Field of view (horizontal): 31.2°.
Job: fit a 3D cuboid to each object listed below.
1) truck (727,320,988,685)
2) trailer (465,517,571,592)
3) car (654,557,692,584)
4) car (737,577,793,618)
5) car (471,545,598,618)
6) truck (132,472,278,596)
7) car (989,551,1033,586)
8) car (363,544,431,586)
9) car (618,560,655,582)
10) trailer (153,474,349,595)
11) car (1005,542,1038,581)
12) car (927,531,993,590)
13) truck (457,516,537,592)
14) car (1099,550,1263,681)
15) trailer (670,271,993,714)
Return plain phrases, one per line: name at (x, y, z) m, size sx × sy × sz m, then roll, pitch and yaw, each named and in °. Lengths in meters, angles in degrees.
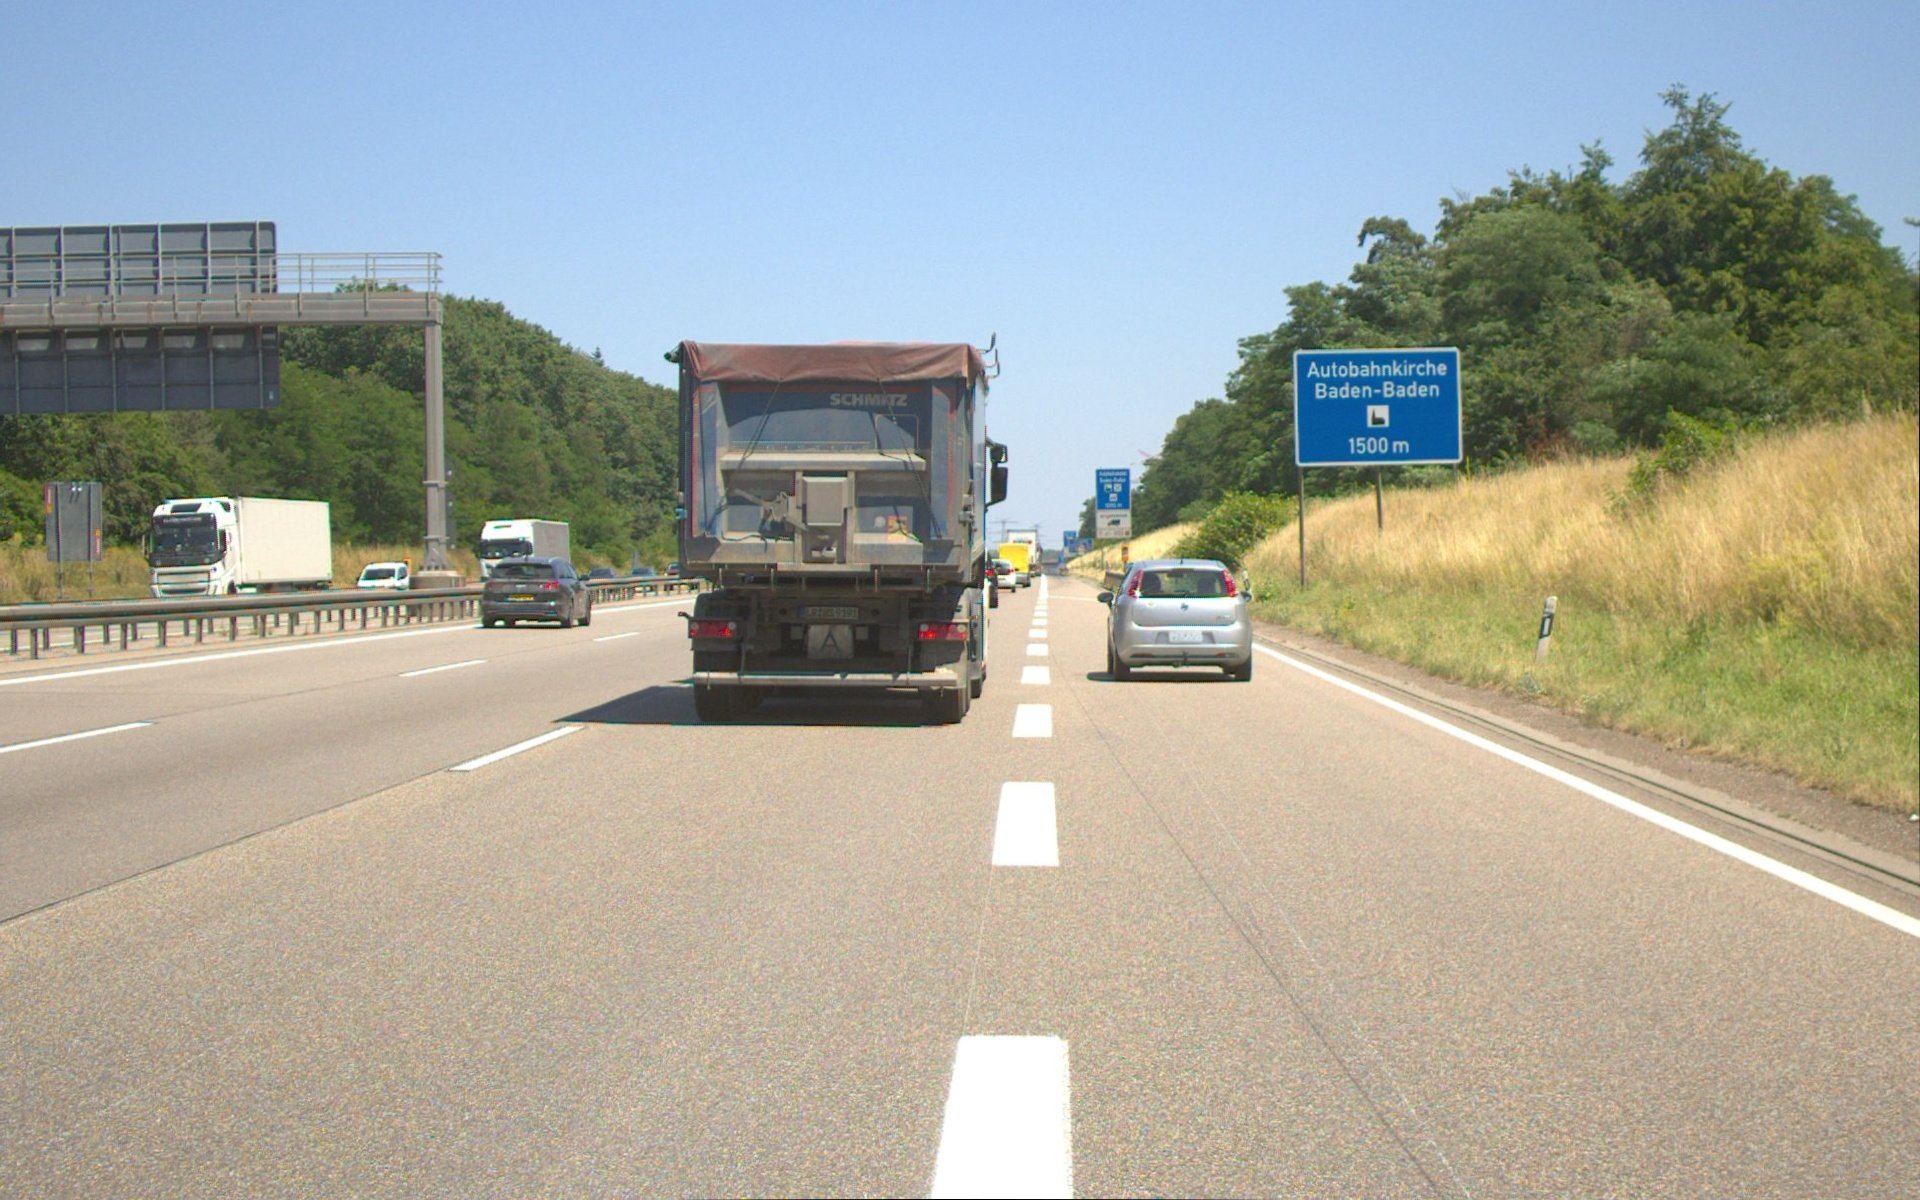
truck at (-1.037, -1.064, 38.351) m, size 2.684 × 3.745 × 5.944 m, roll 0°, pitch 1°, yaw 0°
trailer at (-23.969, -2.468, 187.367) m, size 3.168 × 3.917 × 13.962 m, roll 1°, pitch 1°, yaw 3°
car at (-18.022, -1.858, 215.897) m, size 1.846 × 1.605 × 4.921 m, roll 1°, pitch 1°, yaw 1°
car at (-7.408, -0.111, 130.669) m, size 1.703 × 1.469 × 4.597 m, roll 0°, pitch 1°, yaw 2°
car at (-8.680, -0.403, 70.471) m, size 1.832 × 1.427 × 4.999 m, roll 1°, pitch 1°, yaw 2°
truck at (-25.263, -2.197, 115.273) m, size 3.214 × 4.004 × 6.215 m, roll 1°, pitch 1°, yaw 3°
car at (2.259, -1.360, 150.106) m, size 1.821 × 1.486 × 3.737 m, roll 1°, pitch 0°, yaw 2°
car at (-24.159, -1.518, 147.725) m, size 1.993 × 1.743 × 4.991 m, roll 1°, pitch 1°, yaw 1°
car at (-22.259, -2.033, 236.856) m, size 1.927 × 1.458 × 4.942 m, roll -1°, pitch 1°, yaw 2°
trailer at (-24.932, -2.278, 121.812) m, size 3.214 × 4.028 × 14.359 m, roll 1°, pitch 1°, yaw 3°
car at (3.181, -2.001, 178.693) m, size 1.611 × 2.007 × 4.000 m, roll 1°, pitch 1°, yaw 0°
car at (0.025, -1.168, 101.531) m, size 1.832 × 1.666 × 4.000 m, roll 1°, pitch 0°, yaw 1°
truck at (-24.311, -2.431, 180.902) m, size 3.168 × 3.917 × 5.399 m, roll 1°, pitch 1°, yaw 3°
car at (2.693, 0.154, 42.533) m, size 1.719 × 1.486 × 3.737 m, roll 1°, pitch 1°, yaw -1°
trailer at (-1.061, -1.003, 33.733) m, size 2.737 × 3.745 × 9.109 m, roll 0°, pitch 1°, yaw 0°
